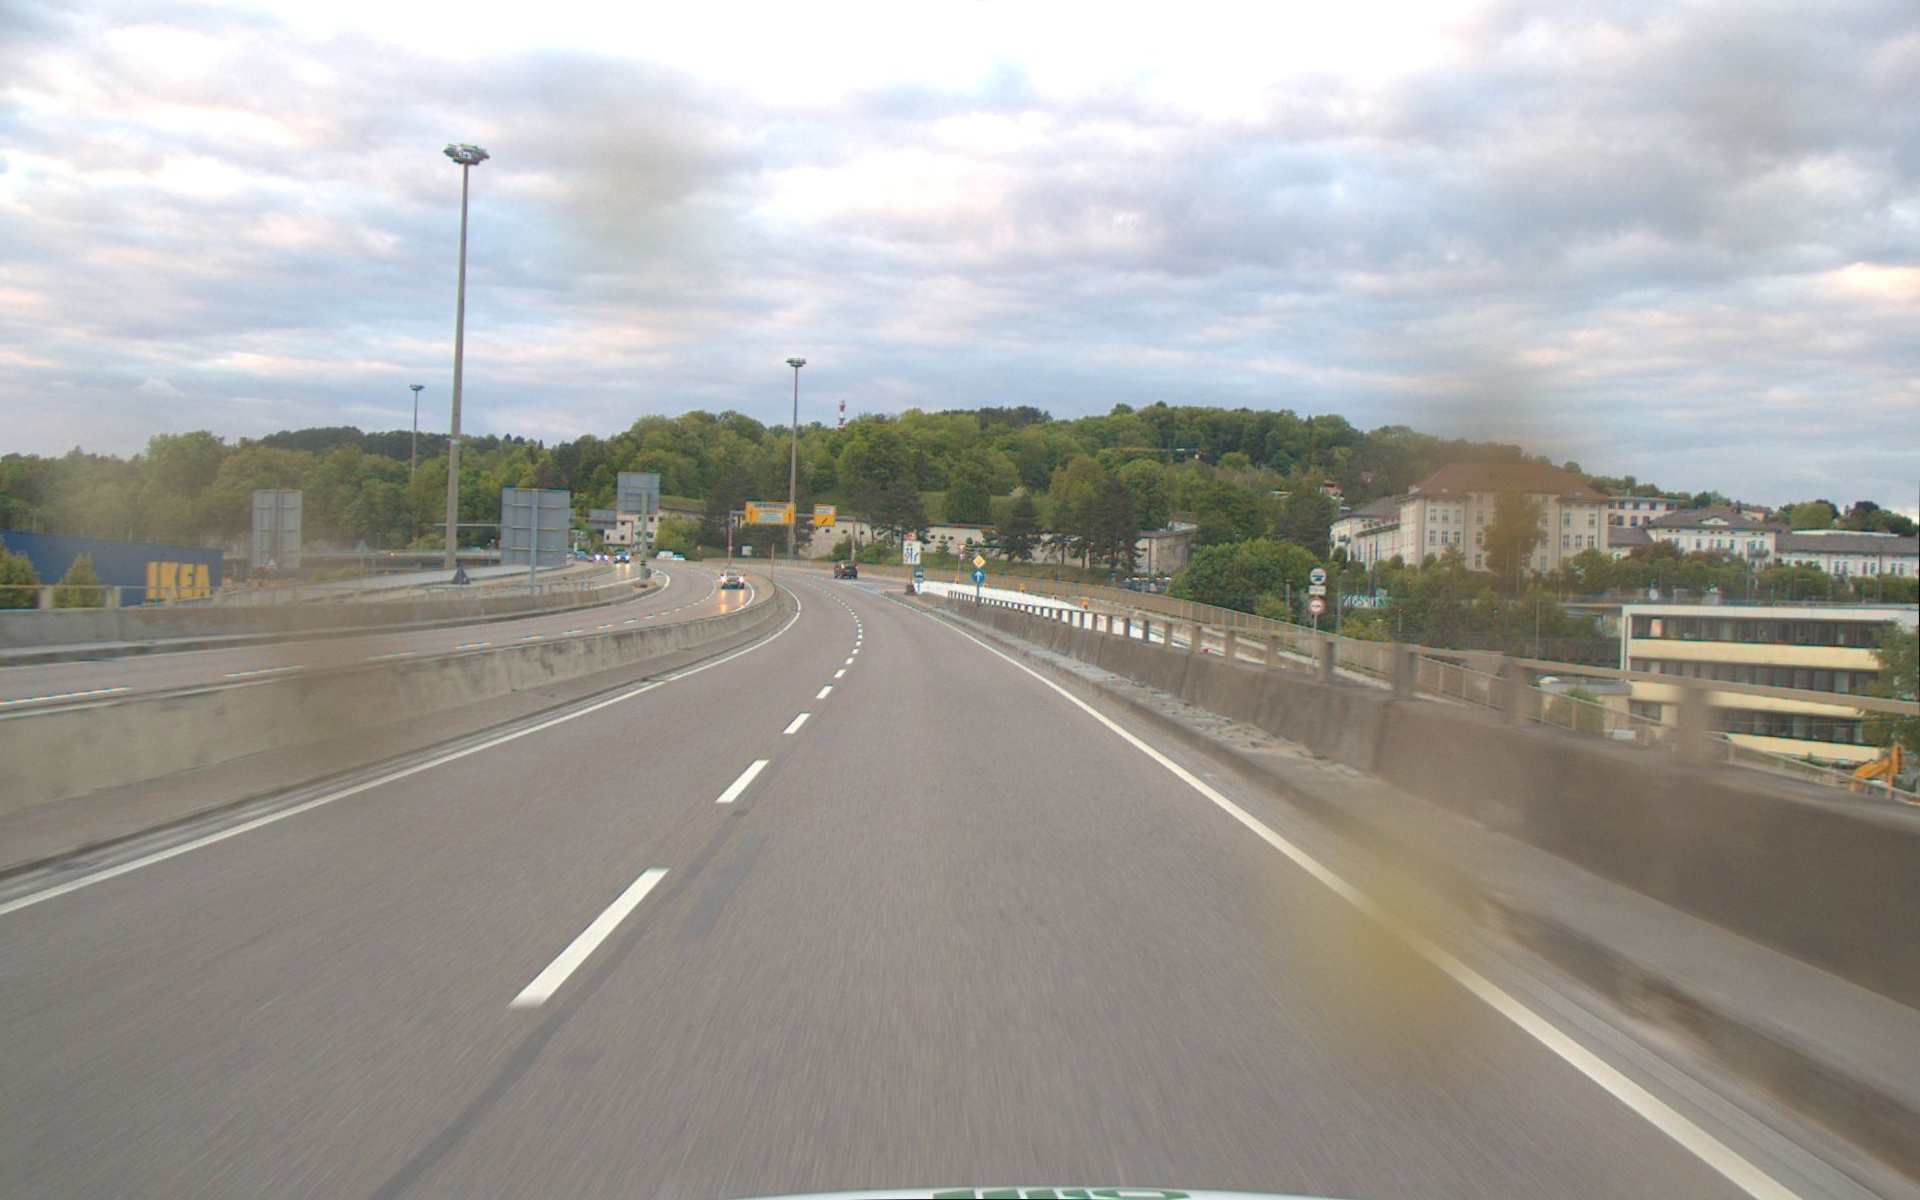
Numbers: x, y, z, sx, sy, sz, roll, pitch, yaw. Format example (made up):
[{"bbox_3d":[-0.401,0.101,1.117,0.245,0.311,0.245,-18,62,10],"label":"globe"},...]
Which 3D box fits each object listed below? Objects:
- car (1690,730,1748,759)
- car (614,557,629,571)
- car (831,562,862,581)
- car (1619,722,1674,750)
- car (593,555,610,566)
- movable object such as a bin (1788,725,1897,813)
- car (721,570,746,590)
[{"bbox_3d":[52.198,9.933,113.734,3.954,1.591,1.810,5,2,-36],"label":"car"},{"bbox_3d":[-48.101,-5.120,235.253,1.611,1.747,3.980,-3,1,-18],"label":"car"},{"bbox_3d":[-11.800,-2.966,172.326,2.268,1.794,4.243,3,1,-17],"label":"car"},{"bbox_3d":[49.802,9.880,119.991,3.954,1.591,1.810,5,2,-36],"label":"car"},{"bbox_3d":[-54.731,-6.014,252.393,1.772,1.512,3.814,1,0,-23],"label":"car"},{"bbox_3d":[52.575,10.029,98.685,2.730,4.382,4.941,8,0,-13],"label":"movable object such as a bin"},{"bbox_3d":[-17.180,-1.501,125.447,1.794,1.506,4.280,1,0,-7],"label":"car"}]
